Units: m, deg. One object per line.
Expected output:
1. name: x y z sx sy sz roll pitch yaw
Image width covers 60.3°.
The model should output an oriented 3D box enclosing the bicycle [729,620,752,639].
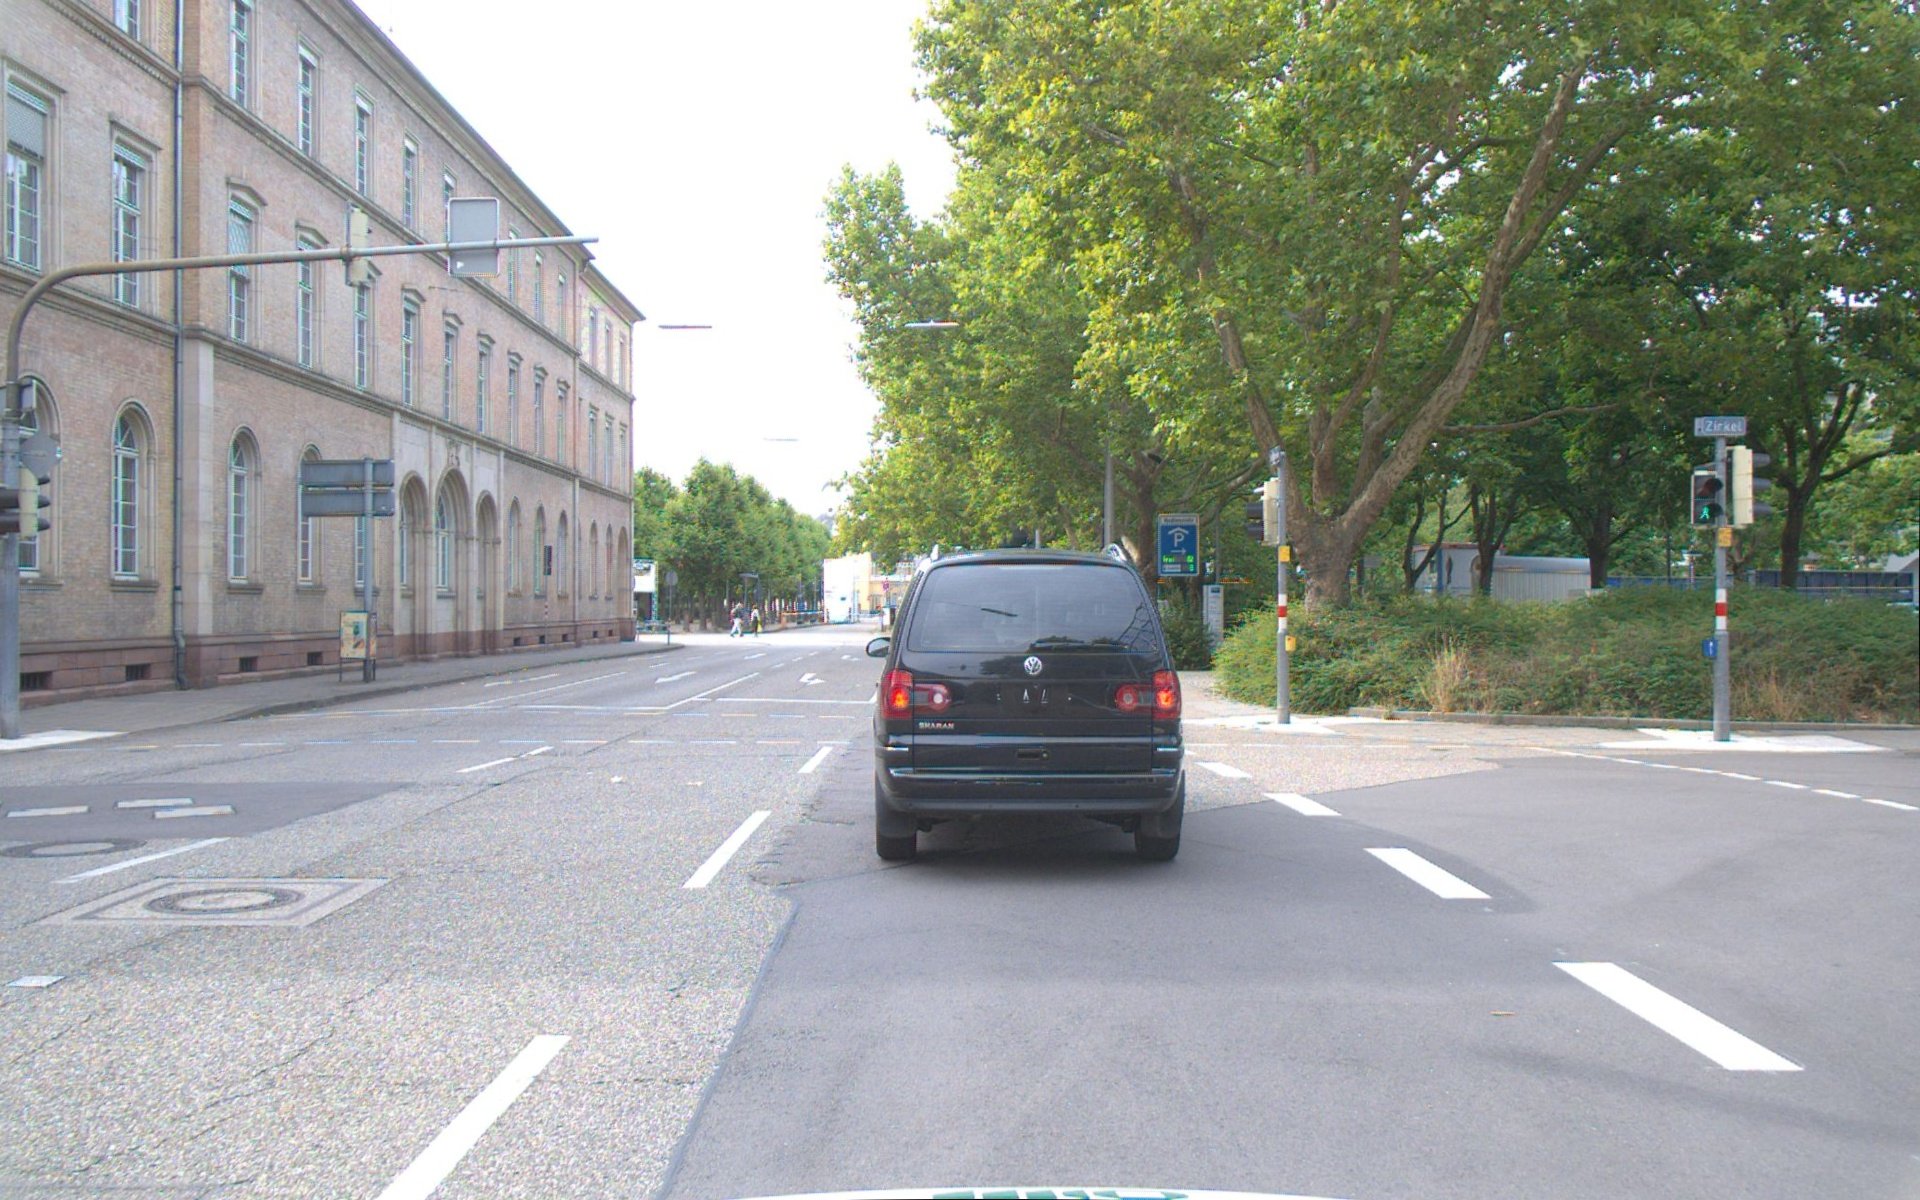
1. bicycle: -13.846 1.861 104.347 0.937 1.129 2.566 2 0 -18

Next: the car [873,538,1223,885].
1. car: 0.400 0.559 10.397 1.757 1.738 4.130 0 0 -1

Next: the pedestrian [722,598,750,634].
1. pedestrian: -11.206 0.810 82.746 0.940 1.772 1.256 1 0 17

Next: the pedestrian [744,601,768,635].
1. pedestrian: -10.140 0.892 82.189 0.877 1.670 0.853 1 0 17

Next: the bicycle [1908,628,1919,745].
1. bicycle: 10.793 0.868 16.431 2.197 1.193 0.916 0 -2 4
